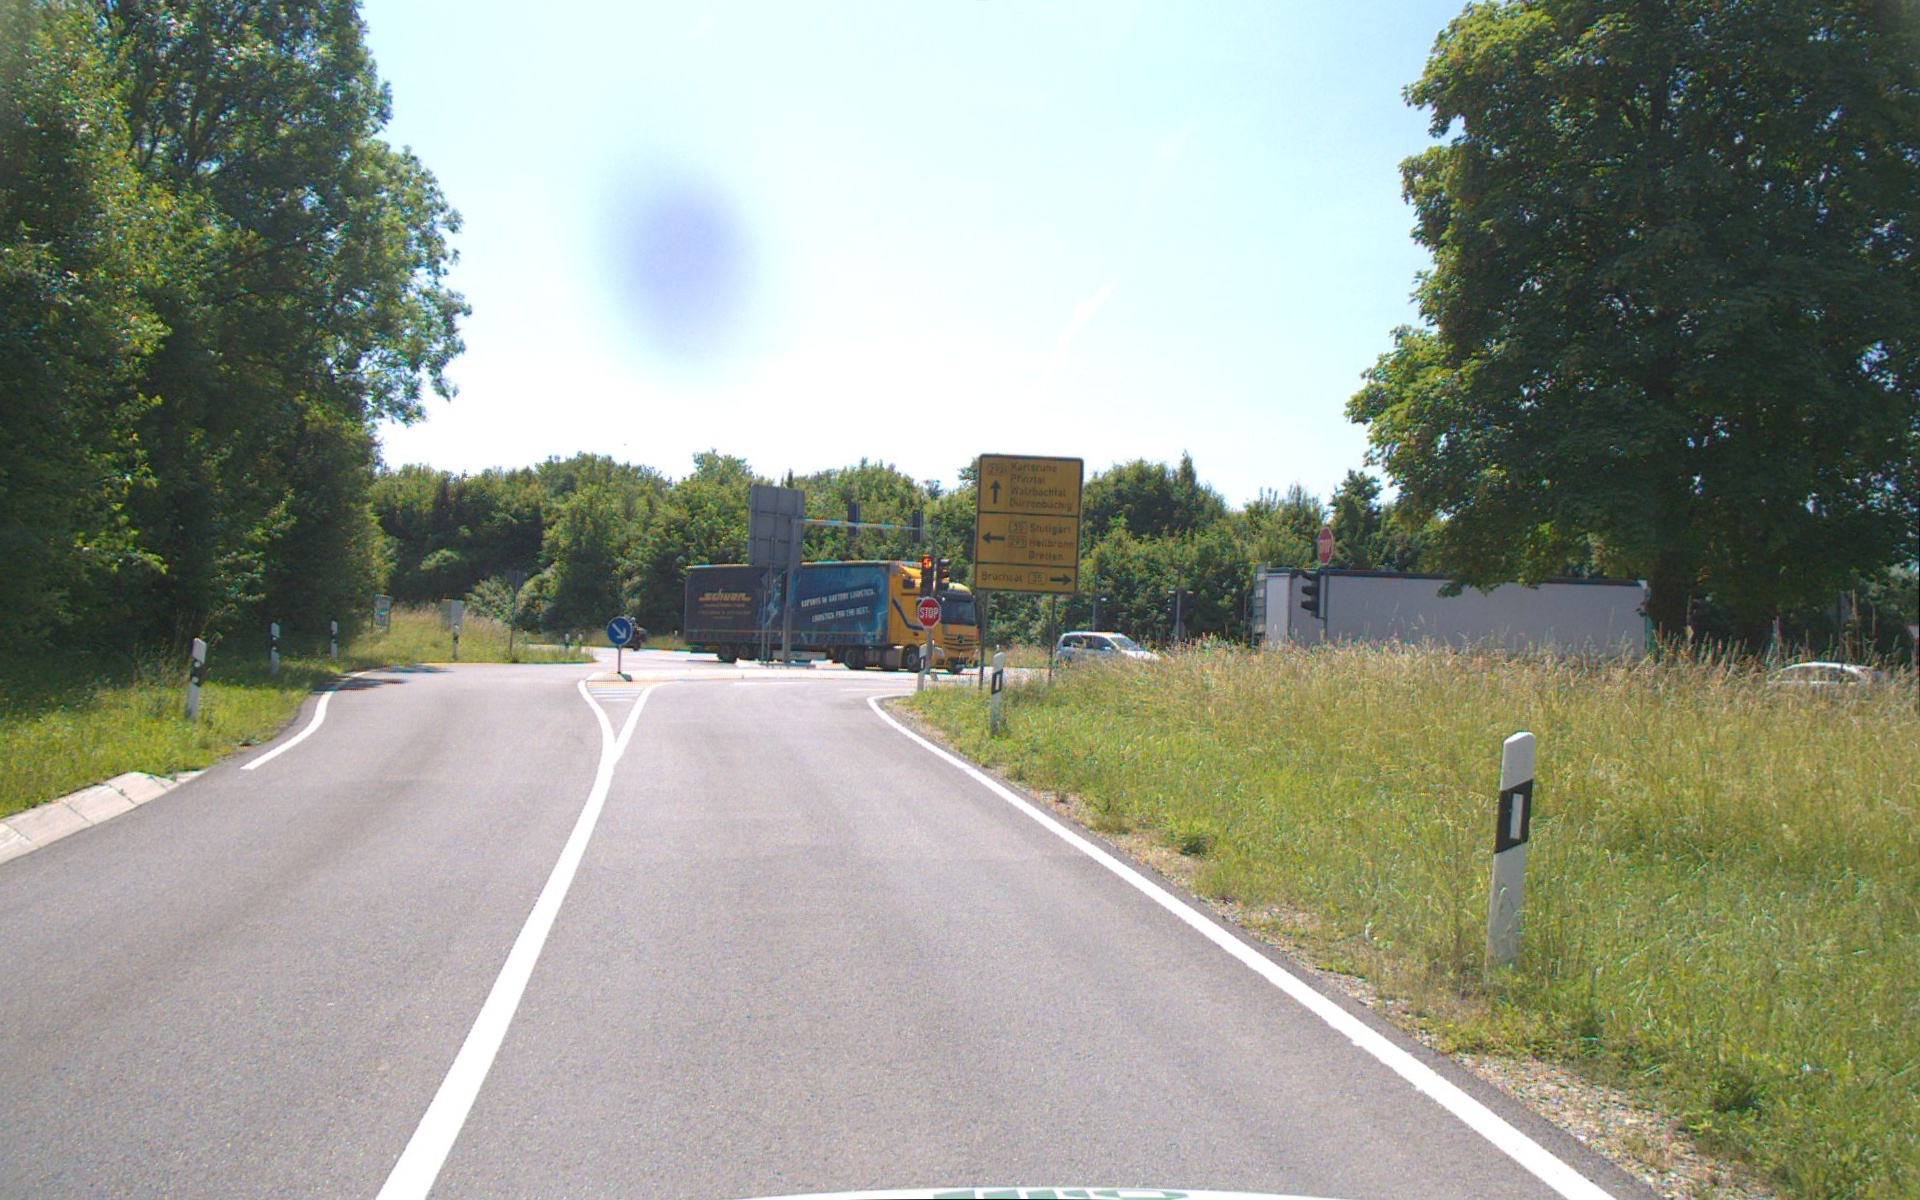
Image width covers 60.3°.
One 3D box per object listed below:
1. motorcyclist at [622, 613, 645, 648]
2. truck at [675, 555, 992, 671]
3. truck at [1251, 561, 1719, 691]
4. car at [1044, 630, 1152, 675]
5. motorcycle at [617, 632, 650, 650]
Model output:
[{"bbox_3d":[-17.654,1.640,89.384,0.881,1.876,0.836,-1,-2,37],"label":"motorcyclist"},{"bbox_3d":[-5.594,0.455,67.277,2.830,4.204,16.536,3,-2,-44],"label":"truck"},{"bbox_3d":[18.822,0.969,59.420,16.320,4.246,3.129,1,-1,-8],"label":"truck"},{"bbox_3d":[5.036,1.895,60.555,3.623,1.603,1.716,-1,-1,41],"label":"car"},{"bbox_3d":[-17.663,2.199,89.430,1.836,0.980,0.727,-1,-2,38],"label":"motorcycle"}]
